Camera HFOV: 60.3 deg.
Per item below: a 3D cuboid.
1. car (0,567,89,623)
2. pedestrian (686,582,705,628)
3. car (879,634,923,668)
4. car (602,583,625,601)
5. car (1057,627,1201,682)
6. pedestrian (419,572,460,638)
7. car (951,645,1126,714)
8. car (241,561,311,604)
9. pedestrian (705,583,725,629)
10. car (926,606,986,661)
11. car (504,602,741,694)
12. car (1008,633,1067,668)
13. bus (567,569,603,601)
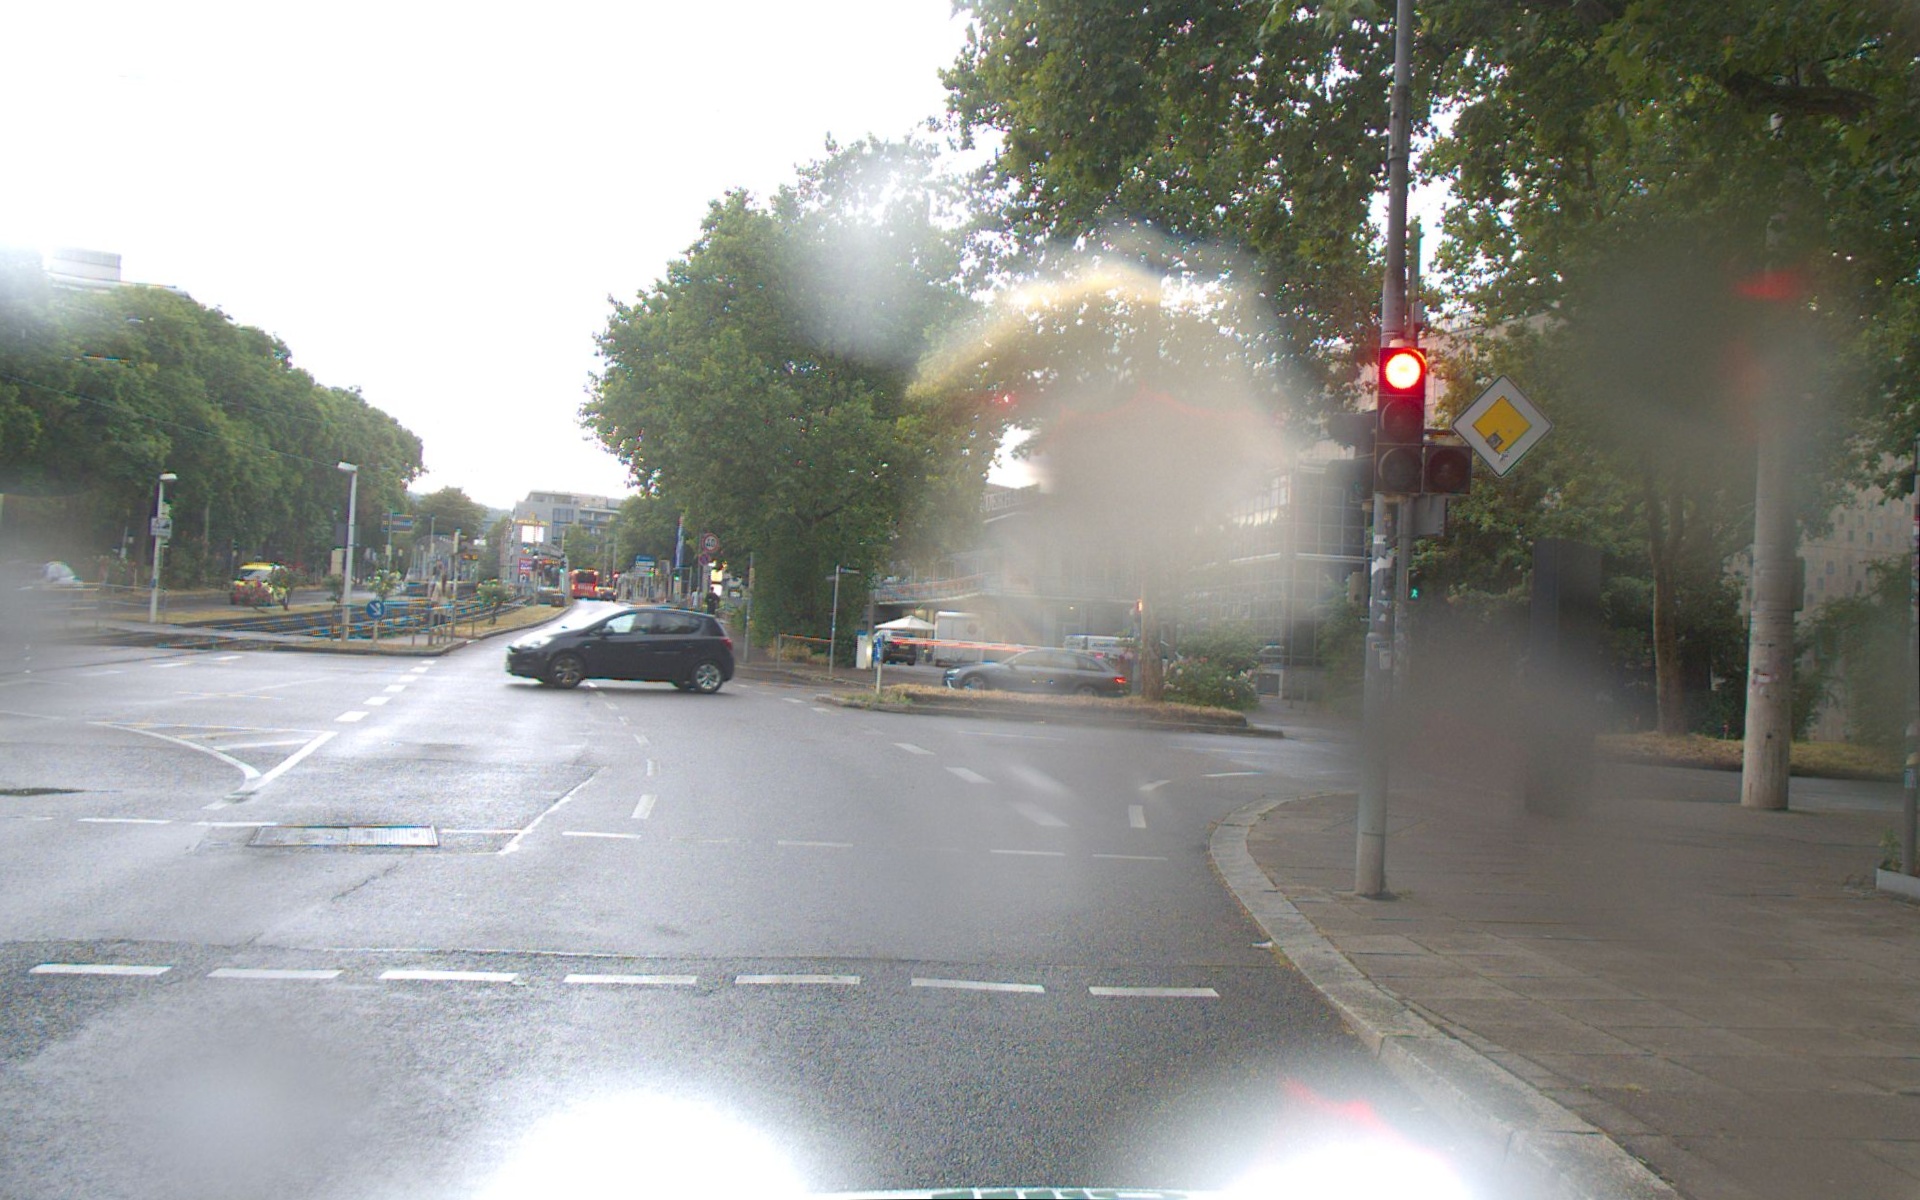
[{"bbox_3d":[-27.938,-0.158,49.714,1.884,1.573,3.674,2,-1,-8],"label":"car"},{"bbox_3d":[-11.864,0.240,74.269,0.799,2.049,1.075,1,-1,-8],"label":"pedestrian"},{"bbox_3d":[-3.116,2.683,87.866,1.978,1.578,4.351,3,0,1],"label":"car"},{"bbox_3d":[-37.860,-0.838,180.843,2.322,1.848,5.165,1,0,-13],"label":"car"},{"bbox_3d":[6.375,2.058,62.277,5.135,1.761,1.859,3,0,-26],"label":"car"},{"bbox_3d":[-15.054,0.137,47.868,0.848,1.834,0.871,3,0,-4],"label":"pedestrian"},{"bbox_3d":[1.906,1.967,41.297,4.248,1.545,2.000,1,0,-1],"label":"car"},{"bbox_3d":[-32.104,-0.778,77.722,1.884,1.883,4.558,2,-1,-8],"label":"car"},{"bbox_3d":[-11.025,0.255,74.410,0.858,2.049,1.075,1,-1,-8],"label":"pedestrian"},{"bbox_3d":[-0.287,1.809,91.367,2.678,2.742,6.915,3,0,-5],"label":"car"},{"bbox_3d":[-5.955,0.843,29.165,3.807,1.380,1.621,3,0,-24],"label":"car"},{"bbox_3d":[4.148,2.701,89.175,1.985,1.578,4.336,3,0,-13],"label":"car"},{"bbox_3d":[-39.890,-1.582,175.841,3.528,3.227,10.384,1,0,-13],"label":"bus"}]
